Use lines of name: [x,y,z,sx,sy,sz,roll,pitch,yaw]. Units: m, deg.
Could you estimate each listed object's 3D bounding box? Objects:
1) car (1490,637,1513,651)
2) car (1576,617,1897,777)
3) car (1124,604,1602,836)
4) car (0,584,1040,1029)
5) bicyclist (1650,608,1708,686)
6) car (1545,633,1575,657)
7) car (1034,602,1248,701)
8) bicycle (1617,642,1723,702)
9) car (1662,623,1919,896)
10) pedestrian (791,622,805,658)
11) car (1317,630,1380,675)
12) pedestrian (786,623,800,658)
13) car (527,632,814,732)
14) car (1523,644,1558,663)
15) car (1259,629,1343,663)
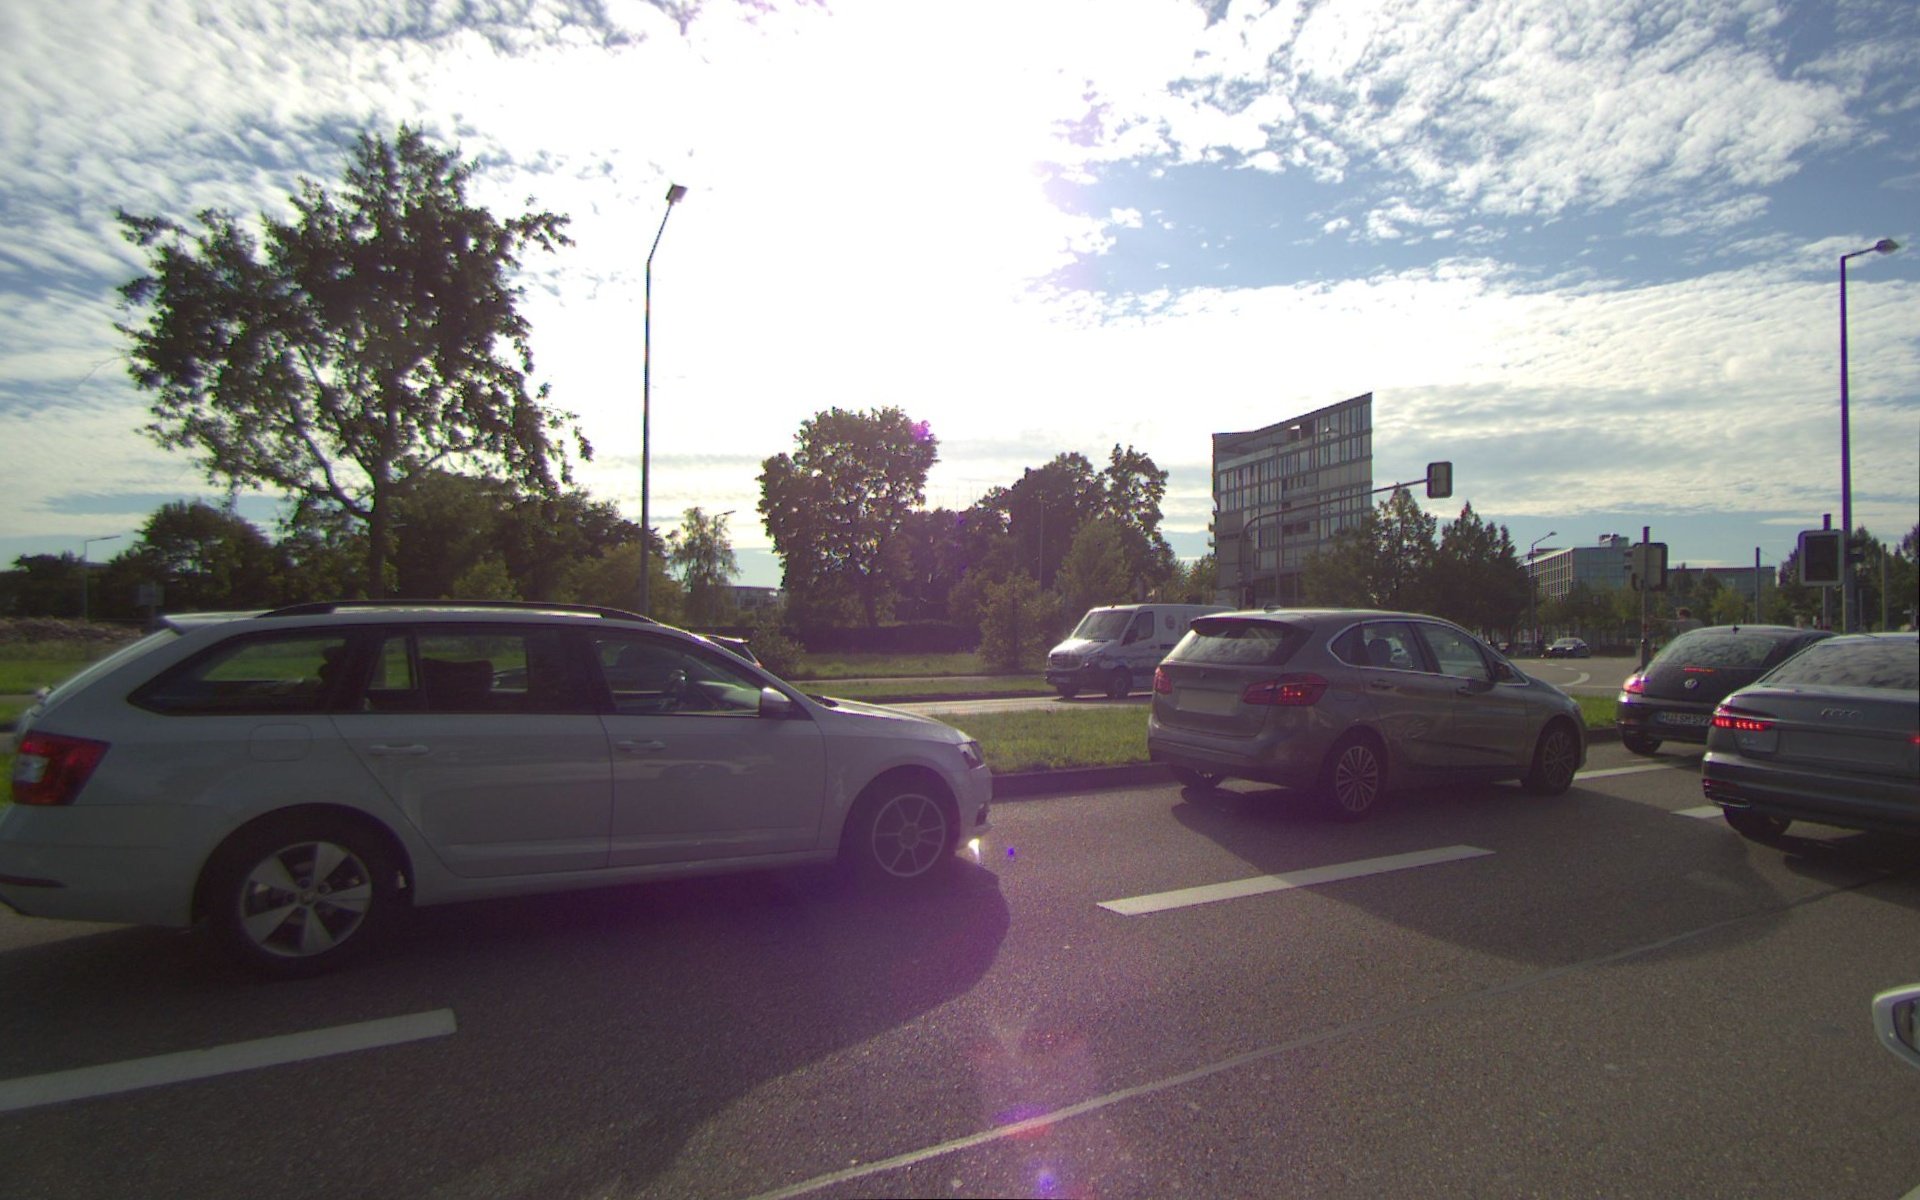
car: [67.117,5.450,124.598,1.678,1.713,4.002,0,-2,16]
car: [8.986,1.010,11.570,3.766,1.543,1.672,2,-1,-31]
car: [3.506,0.872,8.590,3.971,1.579,1.721,2,-1,-30]
car: [-1.885,0.776,5.248,4.429,1.518,1.690,2,-1,-31]
bicyclist: [14.723,0.963,20.569,0.840,1.546,0.736,-2,-3,44]
car: [41.194,3.069,68.941,1.682,1.594,3.990,-1,-2,33]
car: [4.704,1.305,25.552,5.873,2.264,1.979,2,-4,-39]
bicycle: [14.593,1.458,20.684,1.707,1.179,0.652,-1,-3,45]
car: [7.160,0.970,7.109,4.559,1.502,1.881,2,-1,-31]
pedestrian: [-9.455,2.330,58.650,0.723,2.040,0.739,0,-2,-6]
car: [13.718,1.823,35.363,1.878,1.452,4.226,0,-2,24]
pedestrian: [-9.590,2.321,57.712,0.675,2.040,0.641,0,-2,-5]
car: [-4.655,1.293,16.302,4.158,1.428,1.892,2,-4,-31]
car: [48.879,4.464,84.514,1.767,1.595,3.978,-2,-3,42]
car: [18.364,2.448,54.194,1.700,1.793,3.949,2,-2,-43]
